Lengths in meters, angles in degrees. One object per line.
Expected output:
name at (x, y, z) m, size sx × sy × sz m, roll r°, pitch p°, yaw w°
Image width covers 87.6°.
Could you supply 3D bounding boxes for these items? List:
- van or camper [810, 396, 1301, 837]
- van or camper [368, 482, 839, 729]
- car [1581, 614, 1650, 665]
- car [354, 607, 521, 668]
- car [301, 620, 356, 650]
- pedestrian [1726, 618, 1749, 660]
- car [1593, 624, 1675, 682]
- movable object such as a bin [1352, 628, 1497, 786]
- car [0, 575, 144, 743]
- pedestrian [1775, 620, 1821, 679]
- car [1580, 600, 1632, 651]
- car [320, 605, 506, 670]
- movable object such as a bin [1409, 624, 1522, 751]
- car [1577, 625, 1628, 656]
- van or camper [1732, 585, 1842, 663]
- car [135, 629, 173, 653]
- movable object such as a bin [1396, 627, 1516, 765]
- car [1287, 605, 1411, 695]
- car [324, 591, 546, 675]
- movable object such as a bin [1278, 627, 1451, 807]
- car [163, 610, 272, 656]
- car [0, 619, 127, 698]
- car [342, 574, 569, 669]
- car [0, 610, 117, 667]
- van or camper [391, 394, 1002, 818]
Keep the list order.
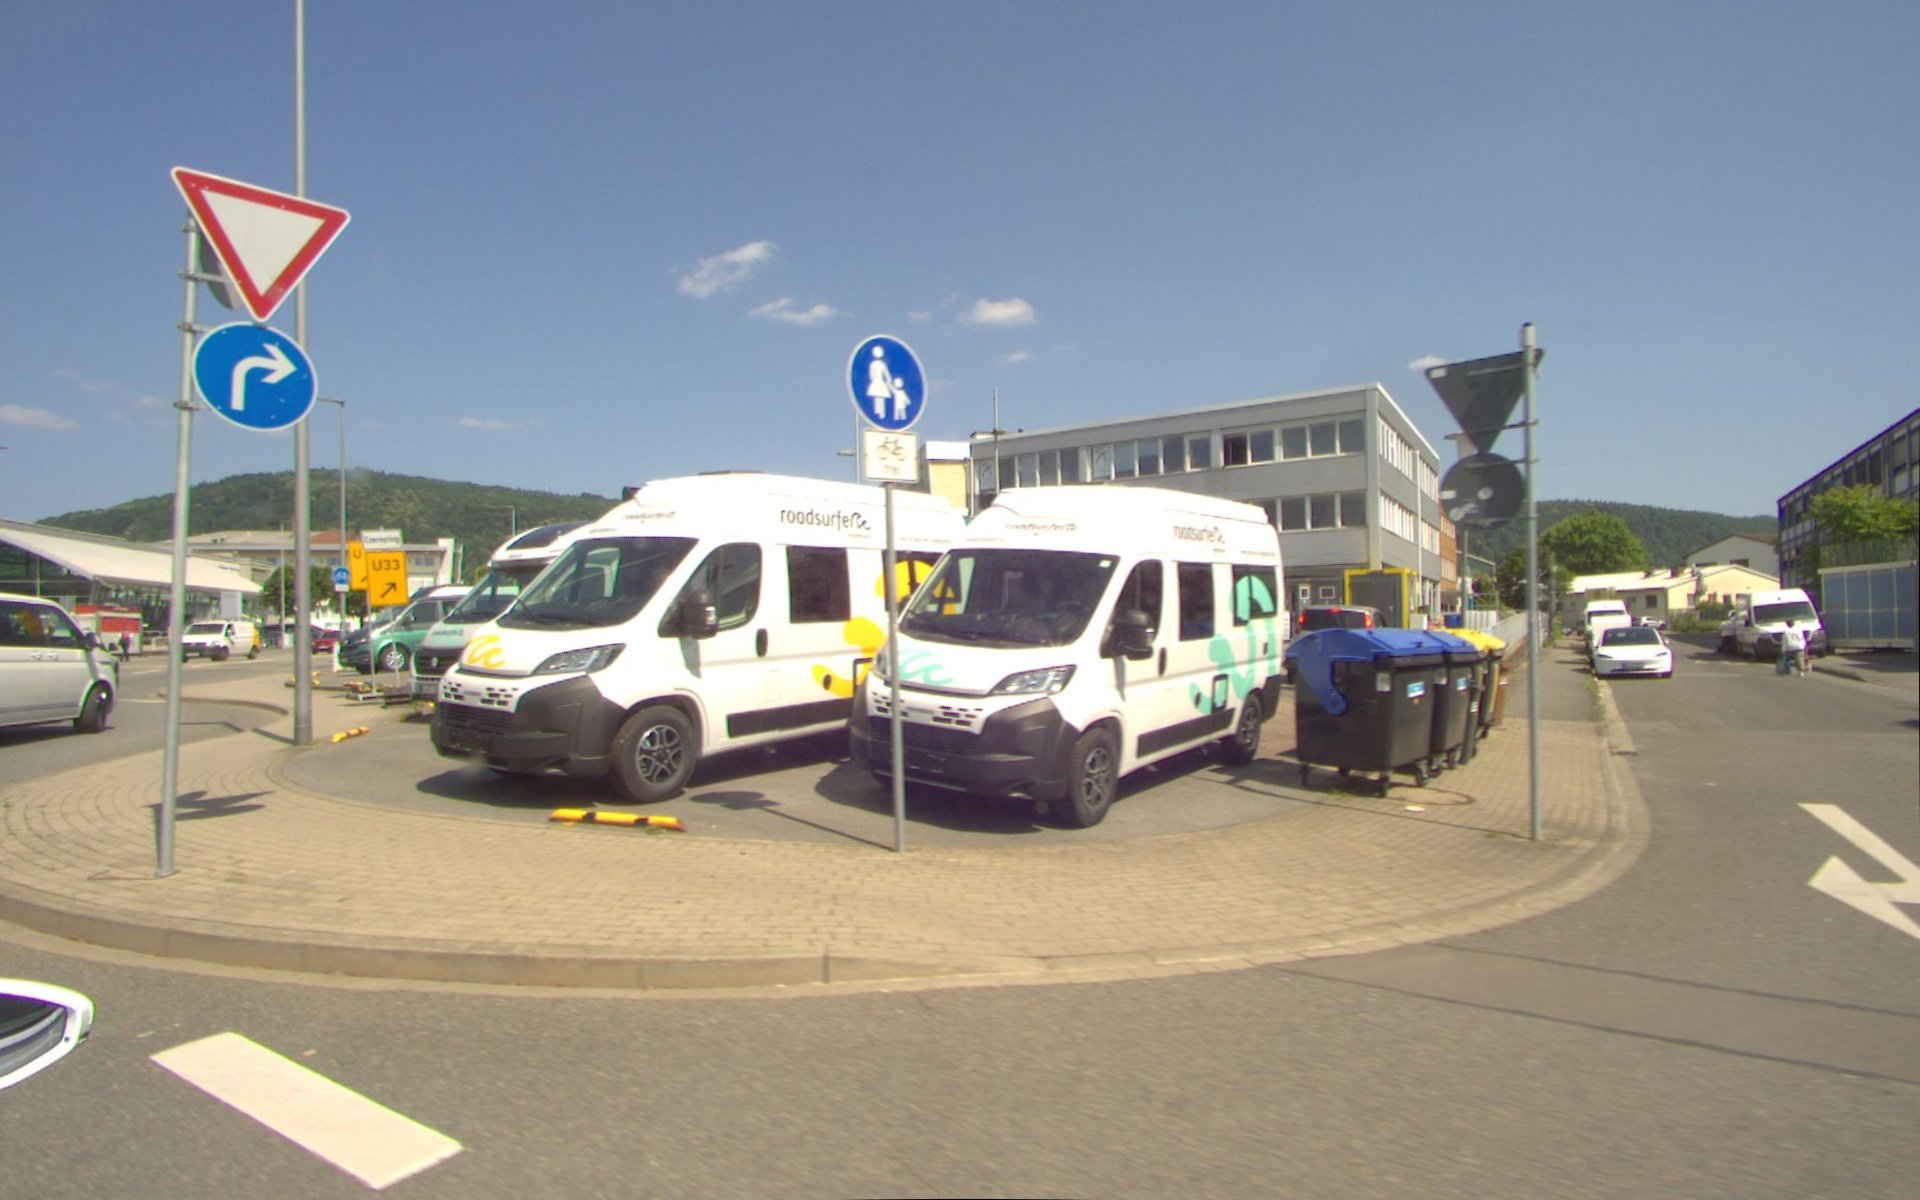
van or camper at (1.293, 0.178, 9.312) m, size 2.020 × 2.851 × 5.492 m, roll 1°, pitch -1°, yaw 35°
van or camper at (-5.047, 0.080, 15.754) m, size 2.302 × 2.985 × 7.047 m, roll -2°, pitch 0°, yaw 31°
car at (24.046, 1.432, 36.667) m, size 1.974 × 1.761 × 4.273 m, roll -1°, pitch -2°, yaw 35°
car at (-19.038, 1.302, 36.671) m, size 5.099 × 2.040 × 1.912 m, roll 0°, pitch -1°, yaw -44°
car at (-40.759, 2.271, 64.761) m, size 1.994 × 1.861 × 4.858 m, roll 0°, pitch -2°, yaw -20°
pedestrian at (32.562, 1.632, 41.949) m, size 0.699 × 1.709 × 0.650 m, roll -1°, pitch -1°, yaw 32°
car at (19.849, 1.508, 29.451) m, size 1.869 × 1.572 × 3.976 m, roll -1°, pitch -2°, yaw 35°
movable object such as a bin at (4.828, 1.044, 10.379) m, size 1.008 × 1.476 × 1.279 m, roll 1°, pitch 0°, yaw 42°
car at (-12.928, 0.742, 12.718) m, size 2.131 × 2.039 × 5.011 m, roll 0°, pitch -2°, yaw -16°
pedestrian at (23.282, 1.376, 27.843) m, size 0.871 × 1.599 × 0.786 m, roll -1°, pitch -1°, yaw 32°
car at (34.323, 1.362, 53.143) m, size 2.083 × 2.558 × 5.573 m, roll -1°, pitch -2°, yaw 35°
car at (-18.217, 1.210, 33.571) m, size 2.003 × 2.026 × 5.116 m, roll -2°, pitch -2°, yaw 42°
movable object such as a bin at (6.711, 1.113, 13.280) m, size 1.051 × 1.552 × 1.324 m, roll 1°, pitch 0°, yaw 39°
car at (30.813, 1.911, 48.000) m, size 1.869 × 1.400 × 3.976 m, roll -1°, pitch -2°, yaw 35°
van or camper at (31.140, 0.936, 37.944) m, size 2.313 × 2.713 × 6.709 m, roll -1°, pitch -2°, yaw 32°
car at (-55.004, 2.778, 68.378) m, size 1.728 × 1.605 × 3.638 m, roll 1°, pitch -2°, yaw -34°
movable object such as a bin at (5.875, 1.083, 11.843) m, size 1.007 × 1.495 × 1.230 m, roll 1°, pitch 0°, yaw 39°
car at (7.791, 0.923, 19.846) m, size 1.788 × 1.535 × 3.881 m, roll 2°, pitch 0°, yaw 28°
car at (-14.653, 0.912, 28.254) m, size 2.071 × 2.140 × 5.192 m, roll -1°, pitch -2°, yaw 38°
movable object such as a bin at (3.744, 1.007, 9.248) m, size 1.067 × 1.476 × 1.246 m, roll 2°, pitch 0°, yaw 44°
car at (-36.240, 1.584, 49.071) m, size 1.989 × 2.142 × 4.934 m, roll 1°, pitch -1°, yaw -5°
car at (-21.955, 1.368, 24.496) m, size 1.974 × 1.755 × 4.535 m, roll 1°, pitch -2°, yaw -34°
car at (-15.961, 0.685, 32.058) m, size 2.279 × 2.752 × 6.111 m, roll -1°, pitch -1°, yaw 39°
car at (-34.101, 1.417, 37.160) m, size 1.896 × 1.960 × 4.830 m, roll 0°, pitch -2°, yaw -6°
van or camper at (-1.982, 0.080, 9.635) m, size 2.062 × 2.810 × 5.796 m, roll 0°, pitch 0°, yaw 34°
